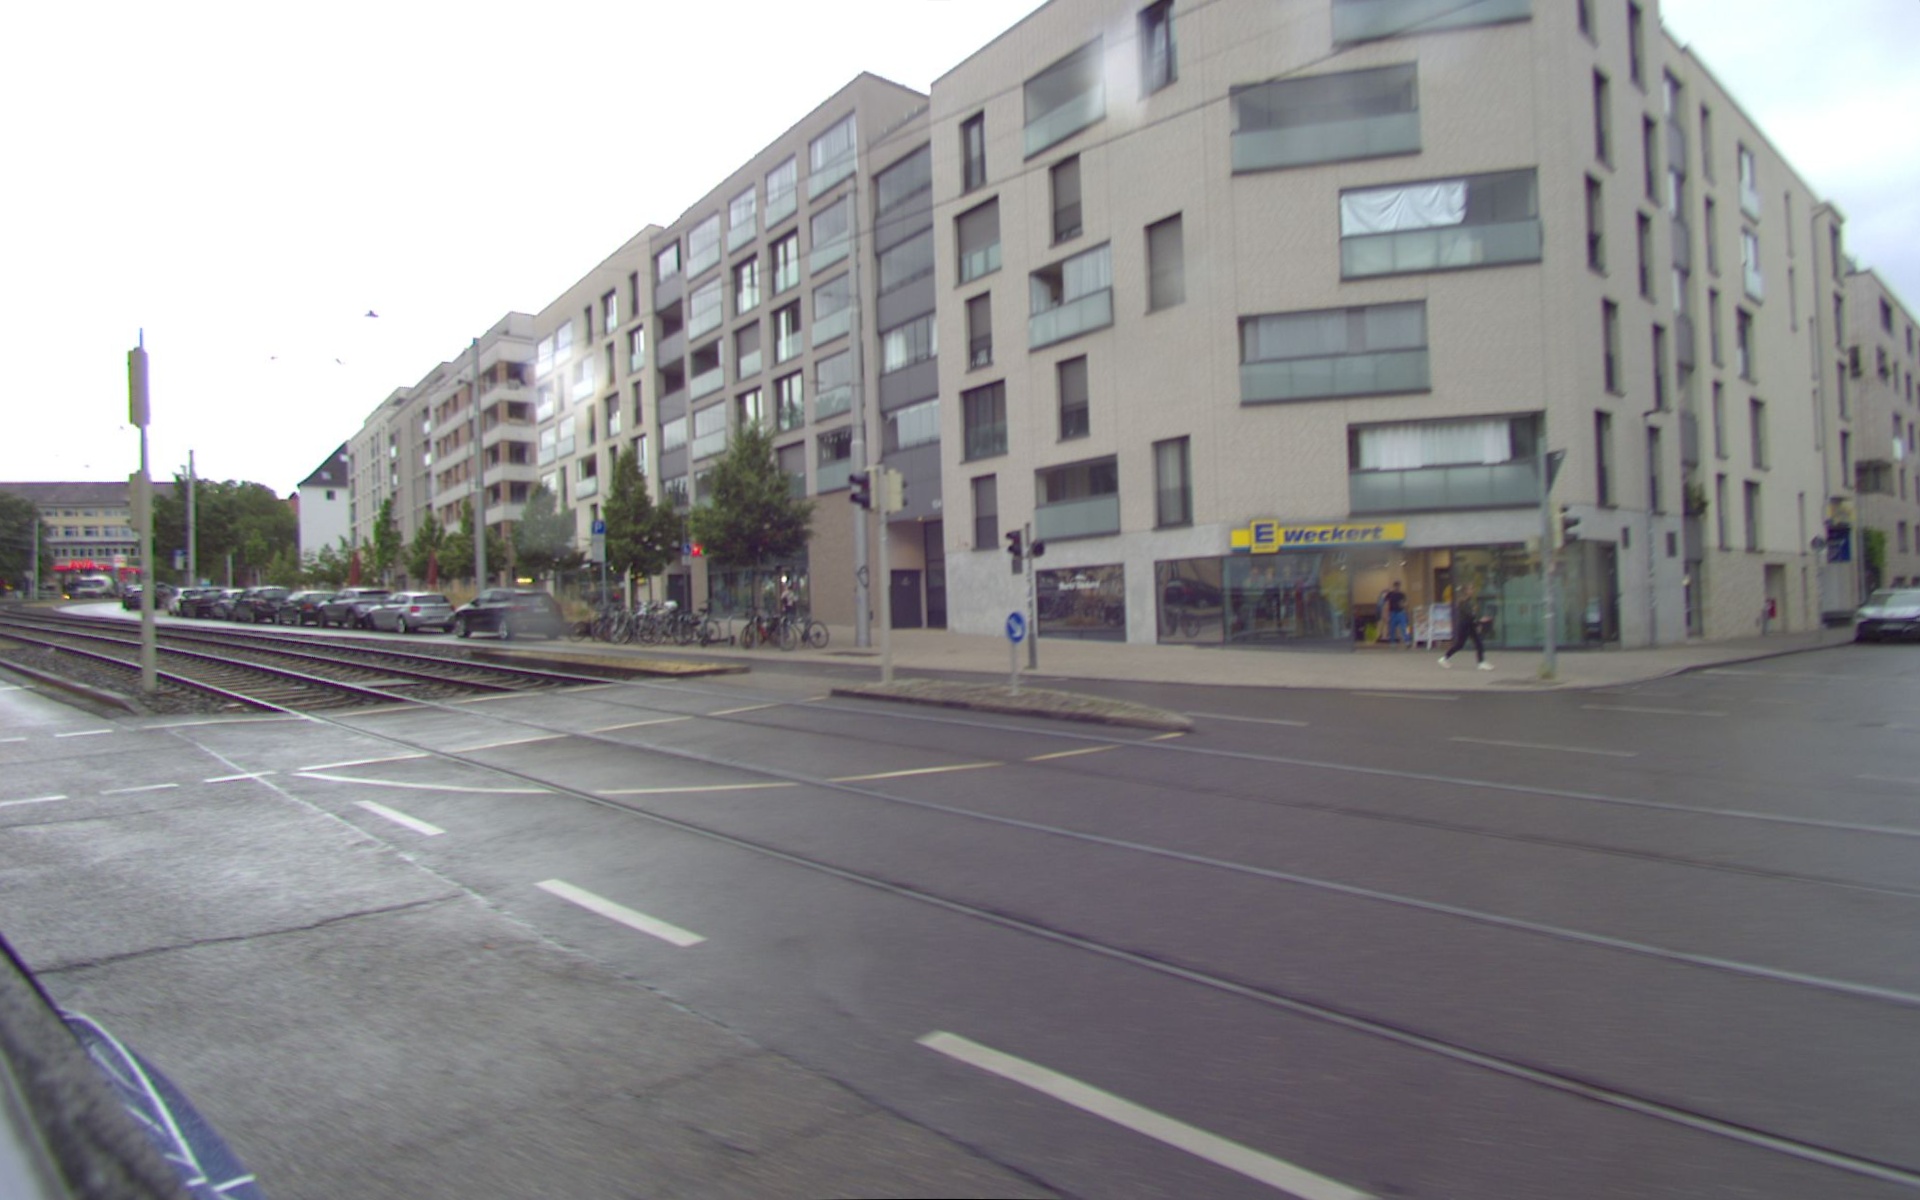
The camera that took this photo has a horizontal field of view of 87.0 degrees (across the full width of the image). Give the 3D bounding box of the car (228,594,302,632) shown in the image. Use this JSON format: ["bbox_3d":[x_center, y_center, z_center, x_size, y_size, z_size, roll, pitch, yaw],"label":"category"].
[{"bbox_3d":[-31.394,0.548,45.708,3.924,1.575,1.664,1,2,39],"label":"car"}]

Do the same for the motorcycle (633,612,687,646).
[{"bbox_3d":[-9.852,0.946,33.265,0.542,1.050,1.743,2,2,36],"label":"motorcycle"}]

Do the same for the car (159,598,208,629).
[{"bbox_3d":[-42.773,0.715,55.730,3.783,1.516,1.627,1,3,45],"label":"car"}]

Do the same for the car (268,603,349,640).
[{"bbox_3d":[-27.381,0.855,42.514,4.029,1.391,1.664,1,2,39],"label":"car"}]

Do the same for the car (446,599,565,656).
[{"bbox_3d":[-14.539,0.810,32.274,4.325,1.615,1.664,1,2,39],"label":"car"}]

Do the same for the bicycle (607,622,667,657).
[{"bbox_3d":[-9.279,1.126,29.154,0.386,0.924,1.768,0,1,35],"label":"bicycle"}]

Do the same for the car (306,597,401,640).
[{"bbox_3d":[-23.789,0.693,39.678,4.040,1.541,1.666,0,2,35],"label":"car"}]

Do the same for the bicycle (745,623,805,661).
[{"bbox_3d":[-4.932,1.112,27.045,0.387,0.883,1.767,0,2,37],"label":"bicycle"}]

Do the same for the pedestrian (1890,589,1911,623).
[{"bbox_3d":[45.017,0.281,48.436,0.532,1.599,0.665,-4,3,-38],"label":"pedestrian"}]

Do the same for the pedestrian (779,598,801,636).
[{"bbox_3d":[-6.858,0.685,40.802,0.532,1.460,0.804,-4,3,-38],"label":"pedestrian"}]

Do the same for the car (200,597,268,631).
[{"bbox_3d":[-35.313,0.656,49.203,3.924,1.516,1.664,1,2,39],"label":"car"}]

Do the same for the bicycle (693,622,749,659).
[{"bbox_3d":[-6.617,1.101,28.103,0.386,0.924,1.771,0,1,31],"label":"bicycle"}]

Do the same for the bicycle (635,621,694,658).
[{"bbox_3d":[-8.416,1.112,28.898,0.386,0.924,1.768,0,2,35],"label":"bicycle"}]

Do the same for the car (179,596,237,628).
[{"bbox_3d":[-38.828,0.596,52.201,4.406,1.516,1.661,1,3,44],"label":"car"}]

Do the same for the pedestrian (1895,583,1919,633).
[{"bbox_3d":[38.785,0.301,41.313,0.845,1.963,0.817,-4,4,-40],"label":"pedestrian"}]

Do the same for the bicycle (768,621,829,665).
[{"bbox_3d":[-4.144,1.084,26.080,0.439,0.987,1.768,0,3,35],"label":"bicycle"}]

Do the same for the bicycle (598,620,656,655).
[{"bbox_3d":[-9.918,1.106,30.173,0.386,0.924,1.768,0,1,35],"label":"bicycle"}]

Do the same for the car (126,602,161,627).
[{"bbox_3d":[-55.956,0.956,69.312,1.631,1.475,3.675,-4,4,-42],"label":"car"}]

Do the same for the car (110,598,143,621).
[{"bbox_3d":[-61.955,0.699,75.209,1.631,1.475,3.675,-4,4,-42],"label":"car"}]

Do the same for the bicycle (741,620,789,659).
[{"bbox_3d":[-5.353,1.065,27.838,0.385,0.924,1.776,-1,2,22],"label":"bicycle"}]

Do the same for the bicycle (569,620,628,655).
[{"bbox_3d":[-10.897,1.122,30.561,0.386,0.924,1.768,0,2,35],"label":"bicycle"}]

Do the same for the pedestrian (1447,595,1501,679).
[{"bbox_3d":[9.925,0.704,19.568,0.769,1.580,0.646,-1,1,12],"label":"pedestrian"}]

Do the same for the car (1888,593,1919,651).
[{"bbox_3d":[31.462,0.691,32.513,3.936,1.607,1.805,-4,4,-38],"label":"car"}]

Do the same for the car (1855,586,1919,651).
[{"bbox_3d":[27.963,0.498,29.575,3.936,1.607,2.004,-4,4,-38],"label":"car"}]

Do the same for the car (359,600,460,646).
[{"bbox_3d":[-19.861,0.770,36.455,4.325,1.475,1.664,1,2,39],"label":"car"}]

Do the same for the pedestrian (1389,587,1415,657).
[{"bbox_3d":[11.160,0.543,25.557,0.582,1.723,0.699,0,3,26],"label":"pedestrian"}]

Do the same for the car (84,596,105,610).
[{"bbox_3d":[-110.033,0.411,128.650,1.642,1.618,3.818,-4,4,-35],"label":"car"}]

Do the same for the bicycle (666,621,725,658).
[{"bbox_3d":[-7.413,1.092,28.434,0.386,0.924,1.768,0,2,35],"label":"bicycle"}]
